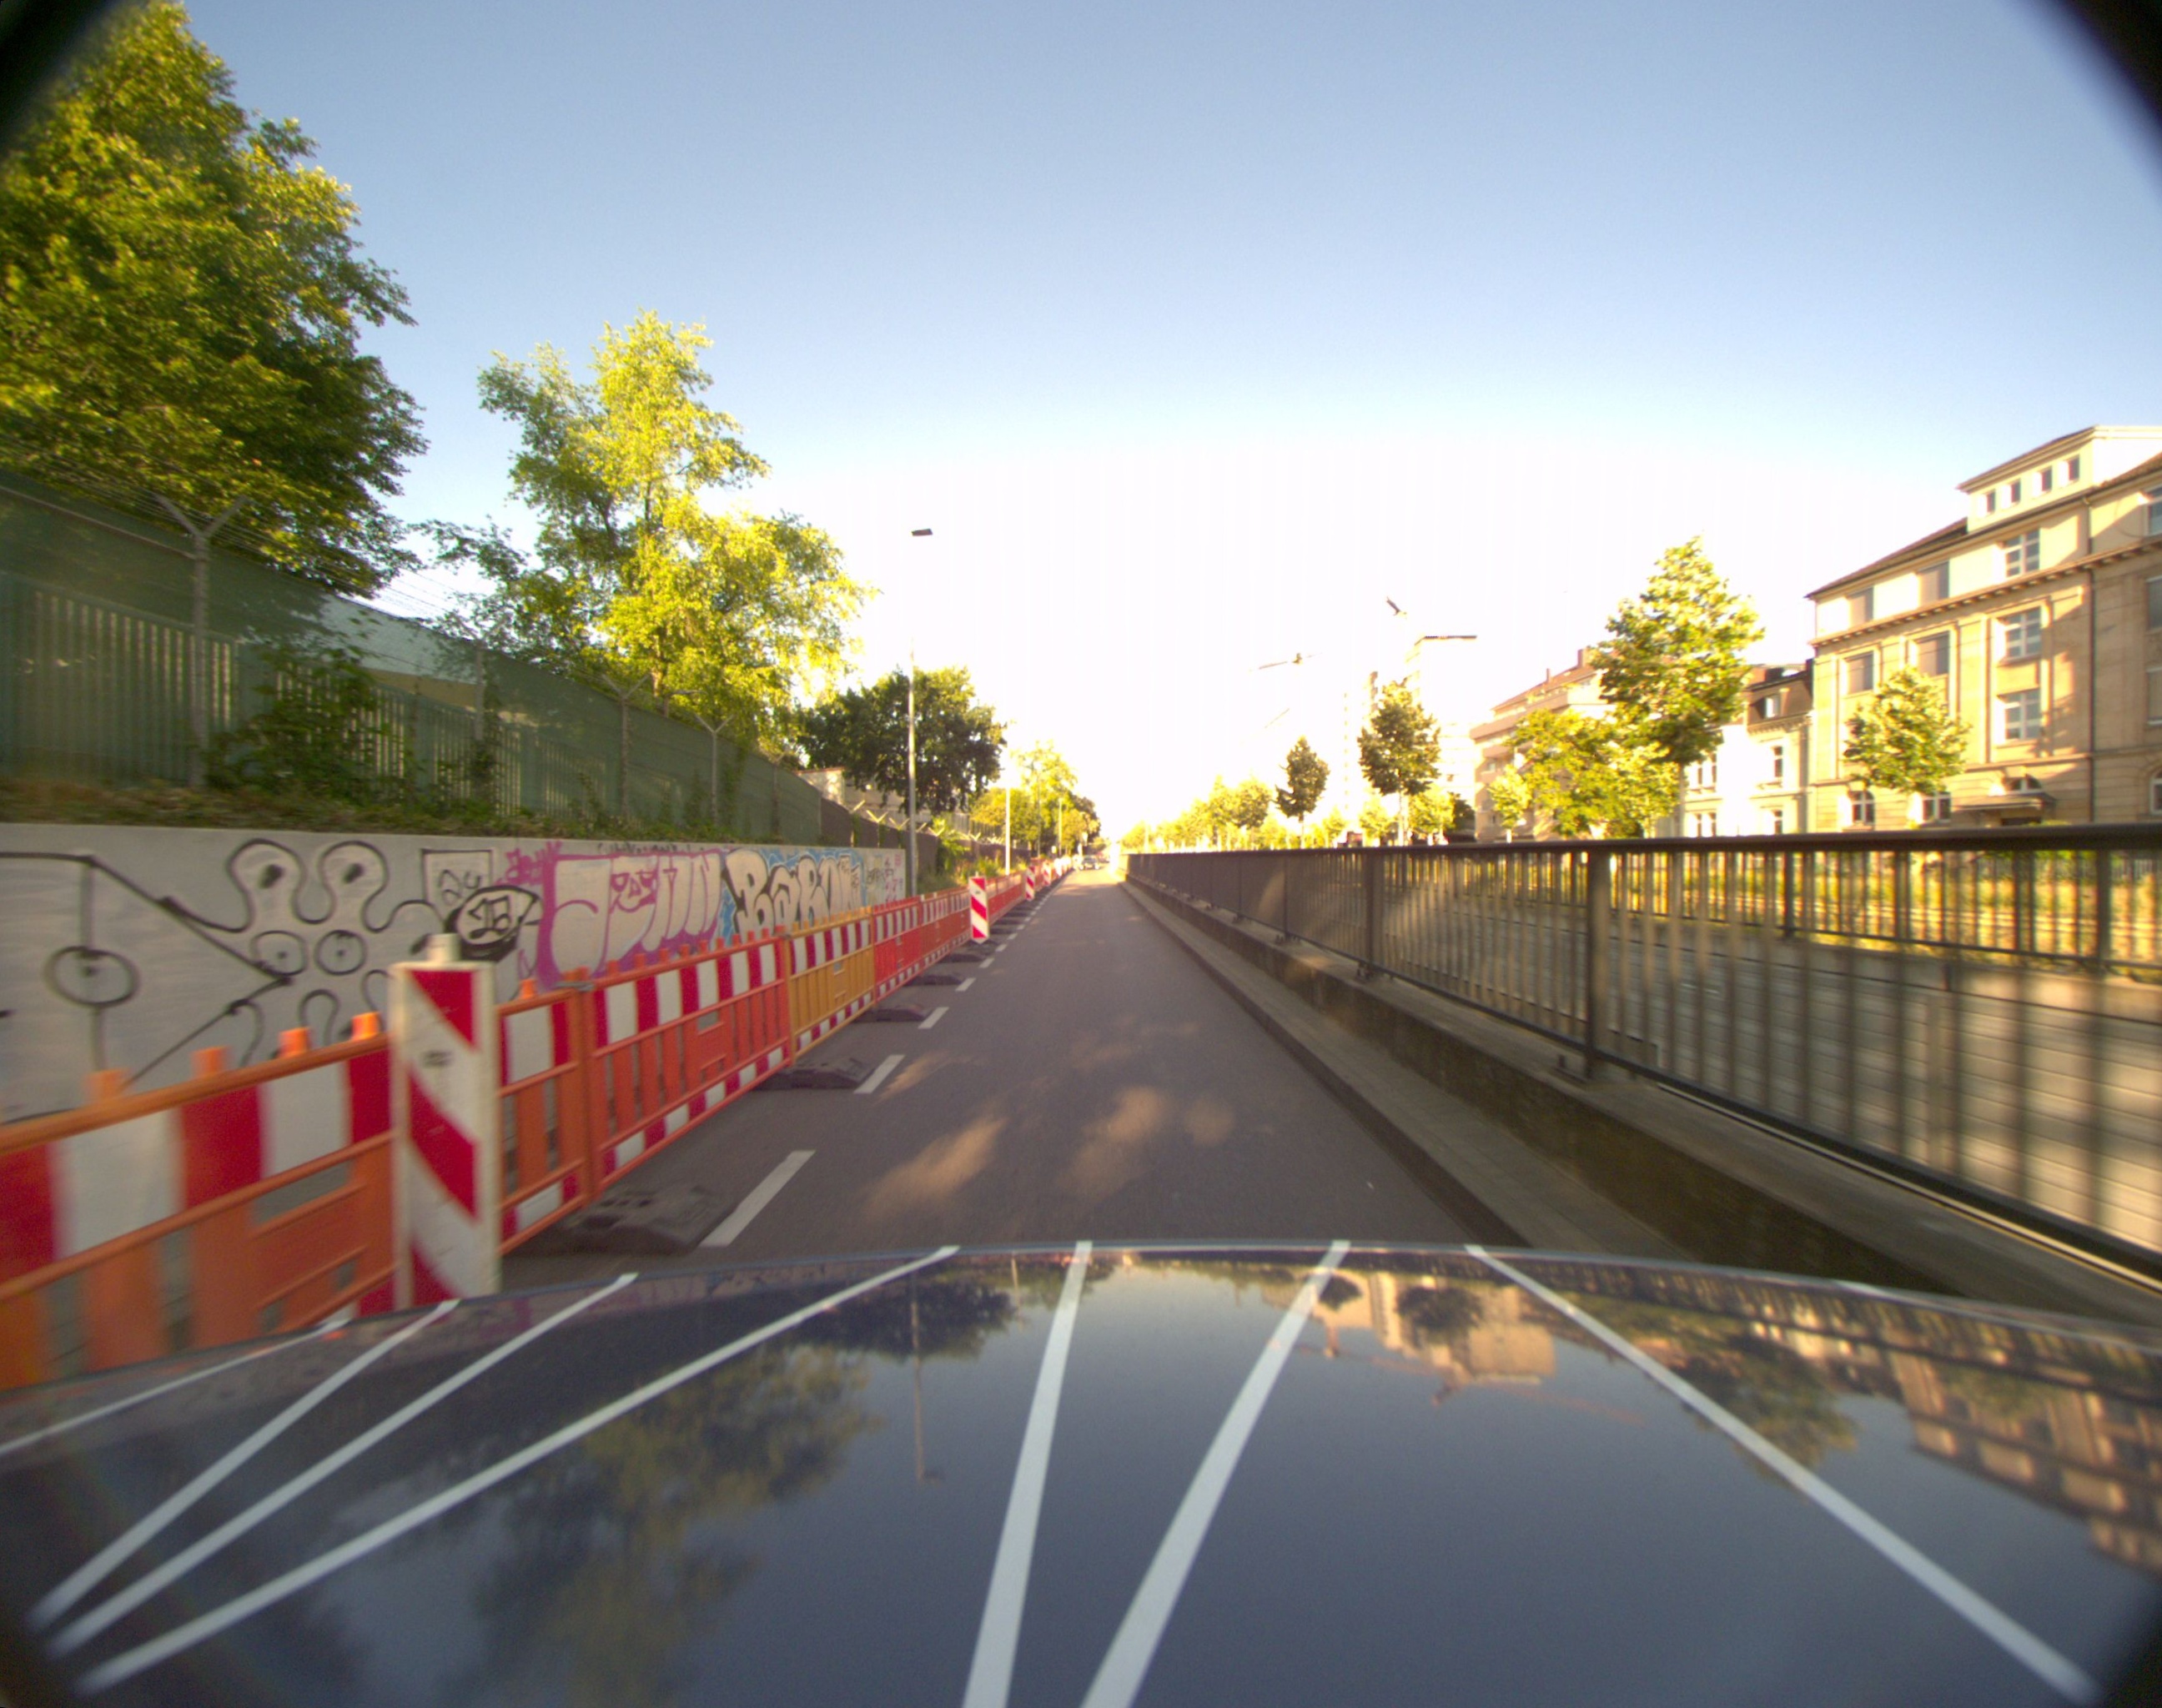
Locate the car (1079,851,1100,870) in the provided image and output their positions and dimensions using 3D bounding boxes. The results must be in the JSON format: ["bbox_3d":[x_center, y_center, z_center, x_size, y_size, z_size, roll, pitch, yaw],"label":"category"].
[{"bbox_3d":[0.868,0.615,77.748,2.080,1.827,4.000,-1,0,1],"label":"car"}]
